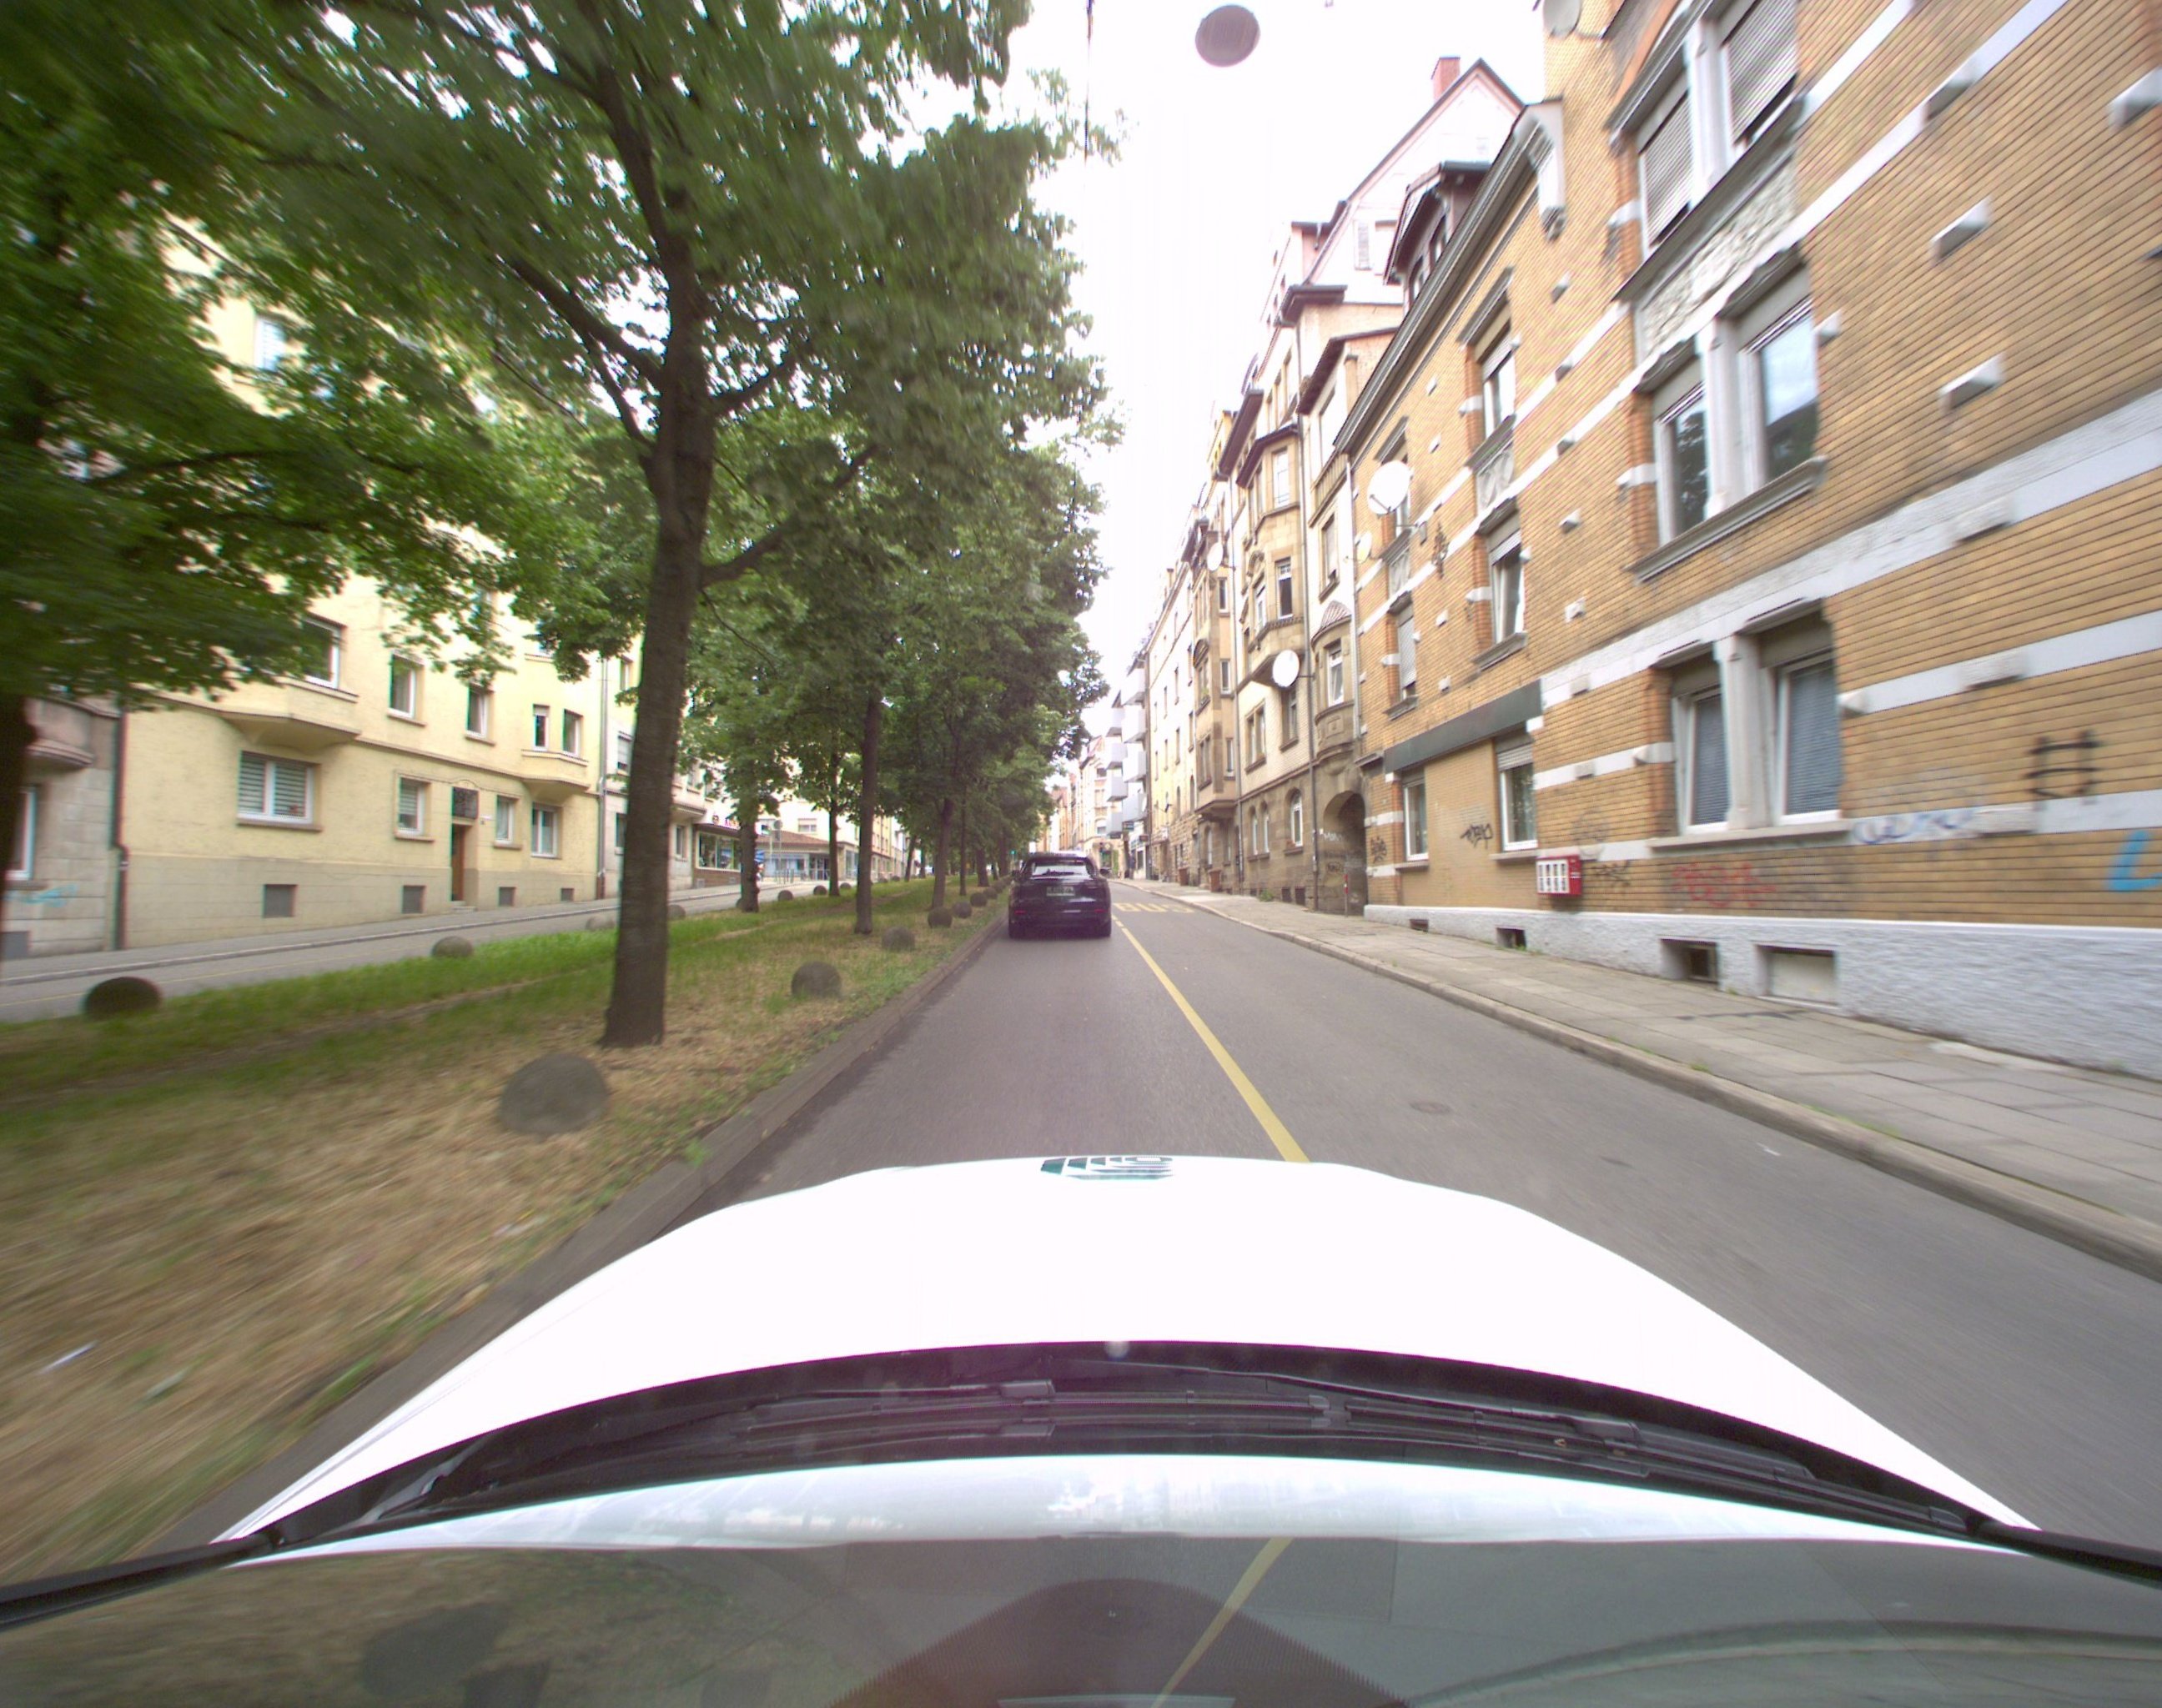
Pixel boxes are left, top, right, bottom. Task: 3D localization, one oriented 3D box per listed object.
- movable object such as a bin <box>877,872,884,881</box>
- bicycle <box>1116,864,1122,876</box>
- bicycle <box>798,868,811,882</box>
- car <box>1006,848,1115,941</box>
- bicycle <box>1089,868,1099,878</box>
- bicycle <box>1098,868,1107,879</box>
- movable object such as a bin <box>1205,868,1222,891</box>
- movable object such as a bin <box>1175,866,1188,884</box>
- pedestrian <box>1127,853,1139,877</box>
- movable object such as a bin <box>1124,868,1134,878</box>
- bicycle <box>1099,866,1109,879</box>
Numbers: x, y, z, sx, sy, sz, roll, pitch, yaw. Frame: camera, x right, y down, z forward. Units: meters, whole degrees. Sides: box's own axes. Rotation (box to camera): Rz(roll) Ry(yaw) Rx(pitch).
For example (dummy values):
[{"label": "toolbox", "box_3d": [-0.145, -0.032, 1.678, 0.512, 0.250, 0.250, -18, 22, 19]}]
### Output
[{"label": "movable object such as a bin", "box_3d": [-23.002, 2.582, 93.429, 0.691, 1.060, 0.688, 0, -3, -9]}, {"label": "bicycle", "box_3d": [4.218, 1.747, 91.030, 0.446, 1.161, 1.831, -1, 3, -5]}, {"label": "bicycle", "box_3d": [-22.085, 1.718, 65.010, 0.766, 1.085, 2.019, 2, -3, -25]}, {"label": "car", "box_3d": [-0.386, 0.721, 16.806, 1.987, 1.665, 3.999, 0, 1, -1]}, {"label": "bicycle", "box_3d": [1.494, 2.174, 93.095, 0.877, 1.129, 2.974, 0, -2, -4]}, {"label": "bicycle", "box_3d": [1.872, 1.660, 70.457, 0.287, 0.931, 1.751, 1, -2, -16]}, {"label": "movable object such as a bin", "box_3d": [5.408, 1.034, 33.293, 0.593, 0.904, 0.562, 0, -1, -2]}, {"label": "movable object such as a bin", "box_3d": [5.155, 1.078, 41.780, 0.593, 0.904, 0.502, 0, -5, -2]}, {"label": "pedestrian", "box_3d": [3.679, 0.813, 57.968, 0.749, 1.693, 0.857, -1, -2, -3]}, {"label": "movable object such as a bin", "box_3d": [3.443, 1.362, 58.799, 0.606, 0.669, 0.857, -1, -2, -3]}, {"label": "bicycle", "box_3d": [2.003, 1.614, 70.892, 0.287, 1.054, 1.751, 1, -2, -16]}]
